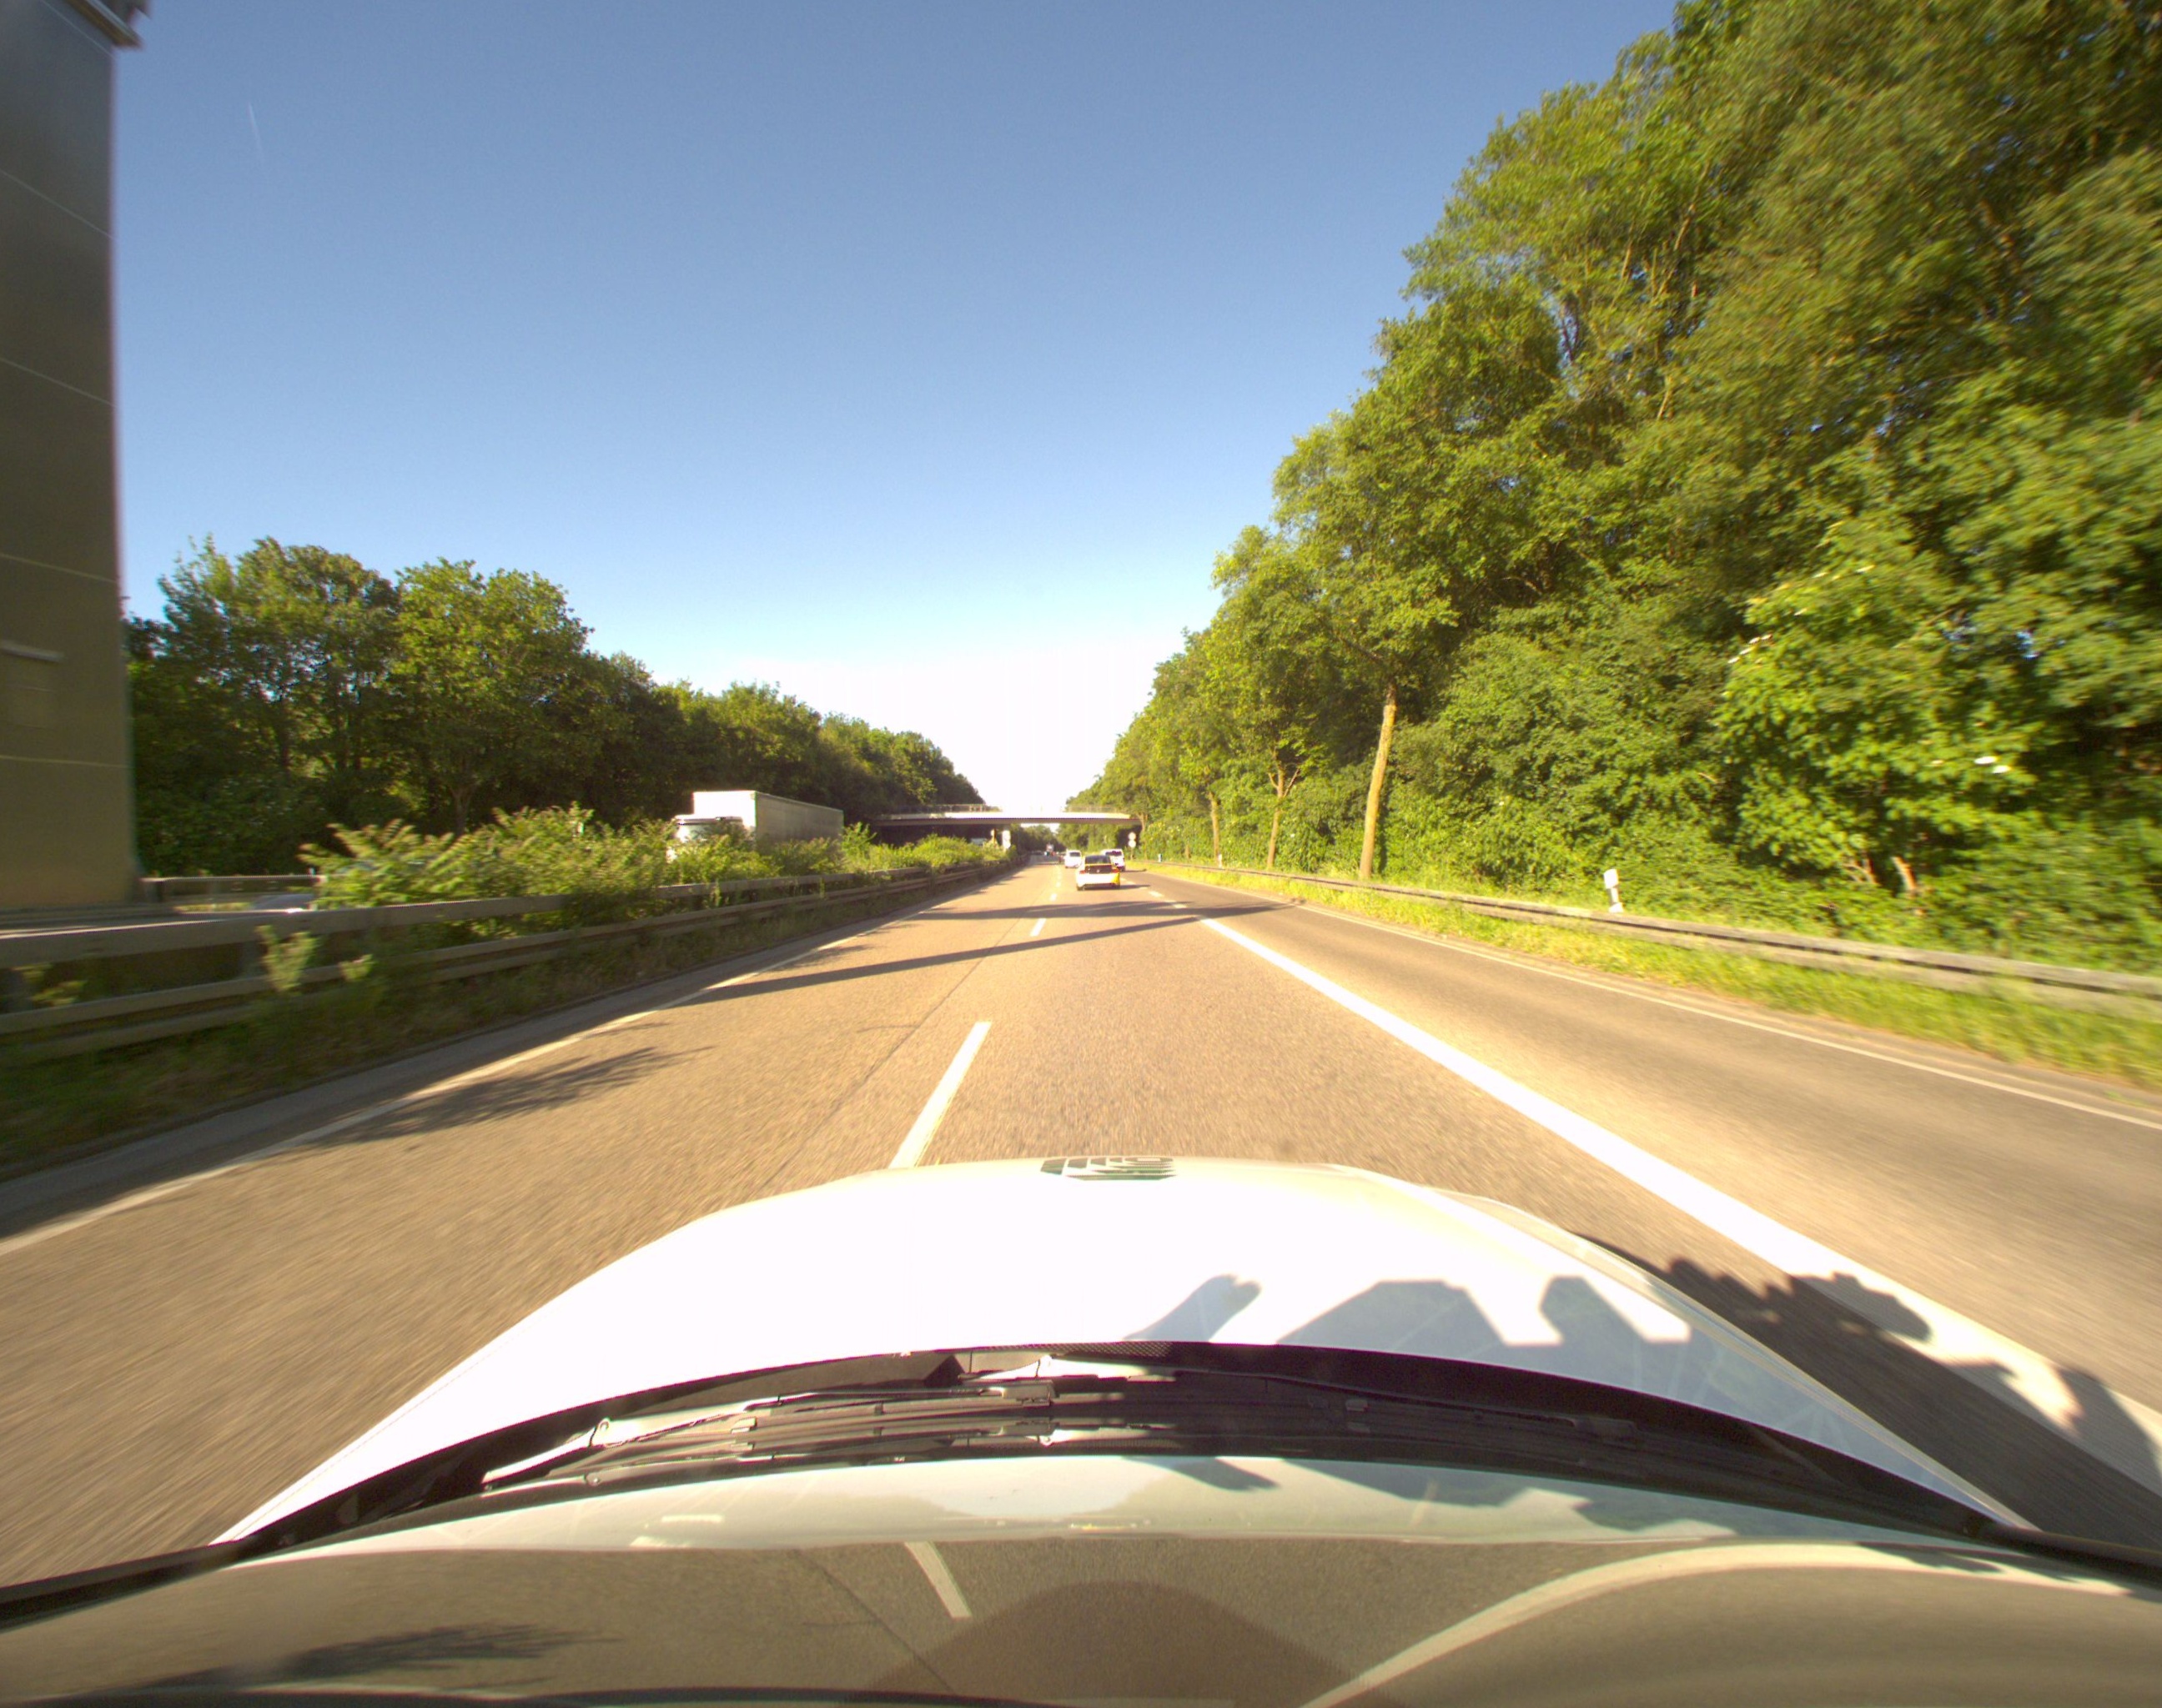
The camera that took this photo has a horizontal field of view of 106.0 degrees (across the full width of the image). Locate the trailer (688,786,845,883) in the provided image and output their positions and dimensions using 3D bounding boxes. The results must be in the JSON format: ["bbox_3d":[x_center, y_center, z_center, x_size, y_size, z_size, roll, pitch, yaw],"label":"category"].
[{"bbox_3d":[-15.148,-0.821,41.001,2.730,4.027,14.067,0,0,-1],"label":"trailer"}]

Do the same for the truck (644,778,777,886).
[{"bbox_3d":[-14.988,-0.825,33.493,2.730,4.027,6.176,0,0,-1],"label":"truck"}]

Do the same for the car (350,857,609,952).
[{"bbox_3d":[-10.636,0.798,14.835,1.800,1.471,3.998,0,0,-1],"label":"car"}]

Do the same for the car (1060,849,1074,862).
[{"bbox_3d":[-2.118,0.221,122.607,1.892,1.767,3.996,-1,0,-2],"label":"car"}]

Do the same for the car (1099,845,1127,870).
[{"bbox_3d":[2.421,0.260,63.183,1.892,1.824,3.998,-1,0,-1],"label":"car"}]

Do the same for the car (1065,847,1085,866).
[{"bbox_3d":[-0.669,0.238,82.405,1.892,1.767,3.997,-1,0,-2],"label":"car"}]

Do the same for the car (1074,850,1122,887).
[{"bbox_3d":[0.675,0.575,34.822,1.892,1.471,3.998,-1,0,-1],"label":"car"}]
